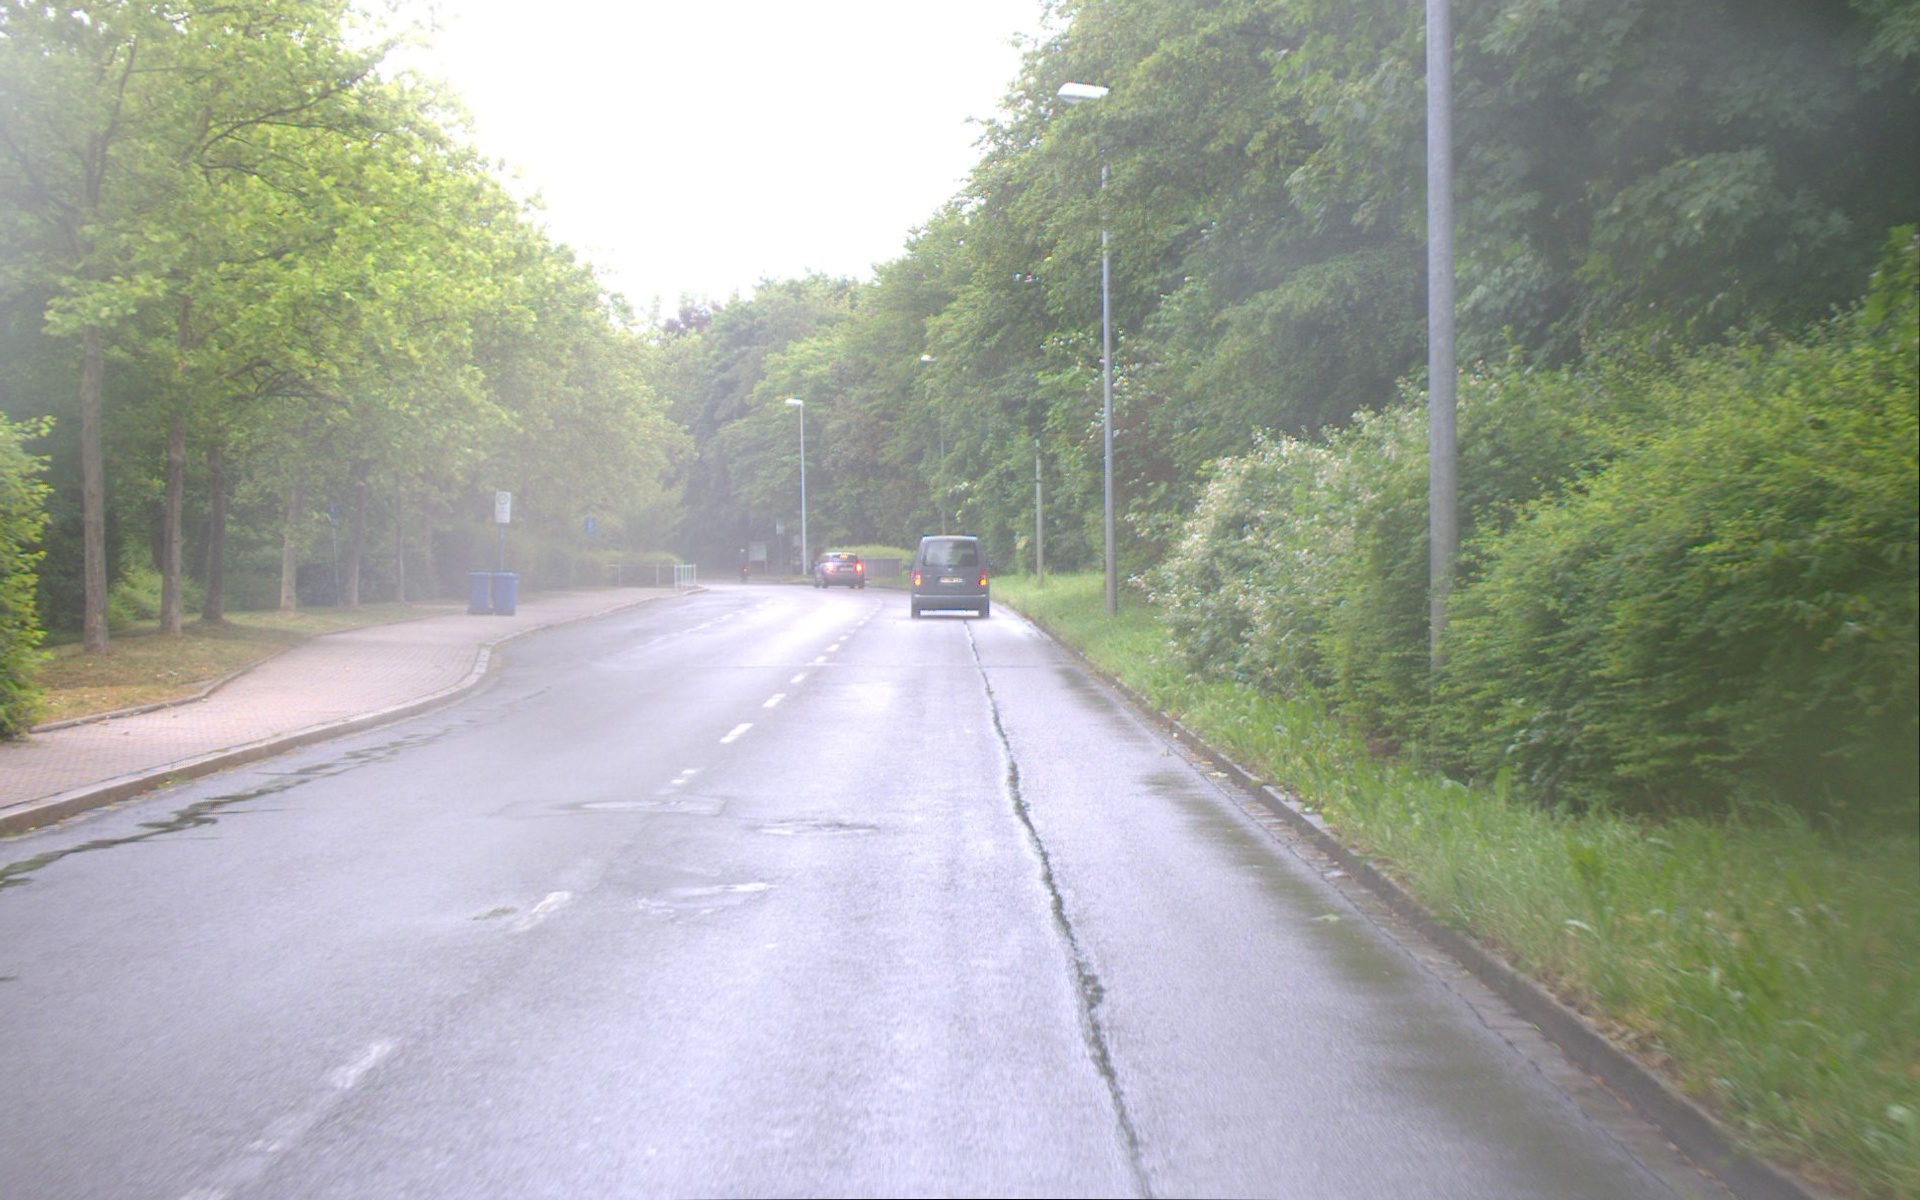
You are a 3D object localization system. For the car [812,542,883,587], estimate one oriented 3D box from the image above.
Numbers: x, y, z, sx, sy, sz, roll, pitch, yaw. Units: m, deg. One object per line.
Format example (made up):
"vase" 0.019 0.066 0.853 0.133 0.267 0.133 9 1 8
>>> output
"car" -4.592 -1.459 139.560 1.993 1.766 4.001 -2 1 -15

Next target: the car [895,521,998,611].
"car" -0.337 -0.793 77.215 1.993 1.787 4.001 3 2 -4

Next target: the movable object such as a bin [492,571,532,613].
"movable object such as a bin" -11.296 -0.199 86.720 0.666 1.023 0.835 -3 1 -32

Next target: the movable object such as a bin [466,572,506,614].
"movable object such as a bin" -11.917 -0.176 86.366 0.666 1.023 0.835 -3 1 -32
